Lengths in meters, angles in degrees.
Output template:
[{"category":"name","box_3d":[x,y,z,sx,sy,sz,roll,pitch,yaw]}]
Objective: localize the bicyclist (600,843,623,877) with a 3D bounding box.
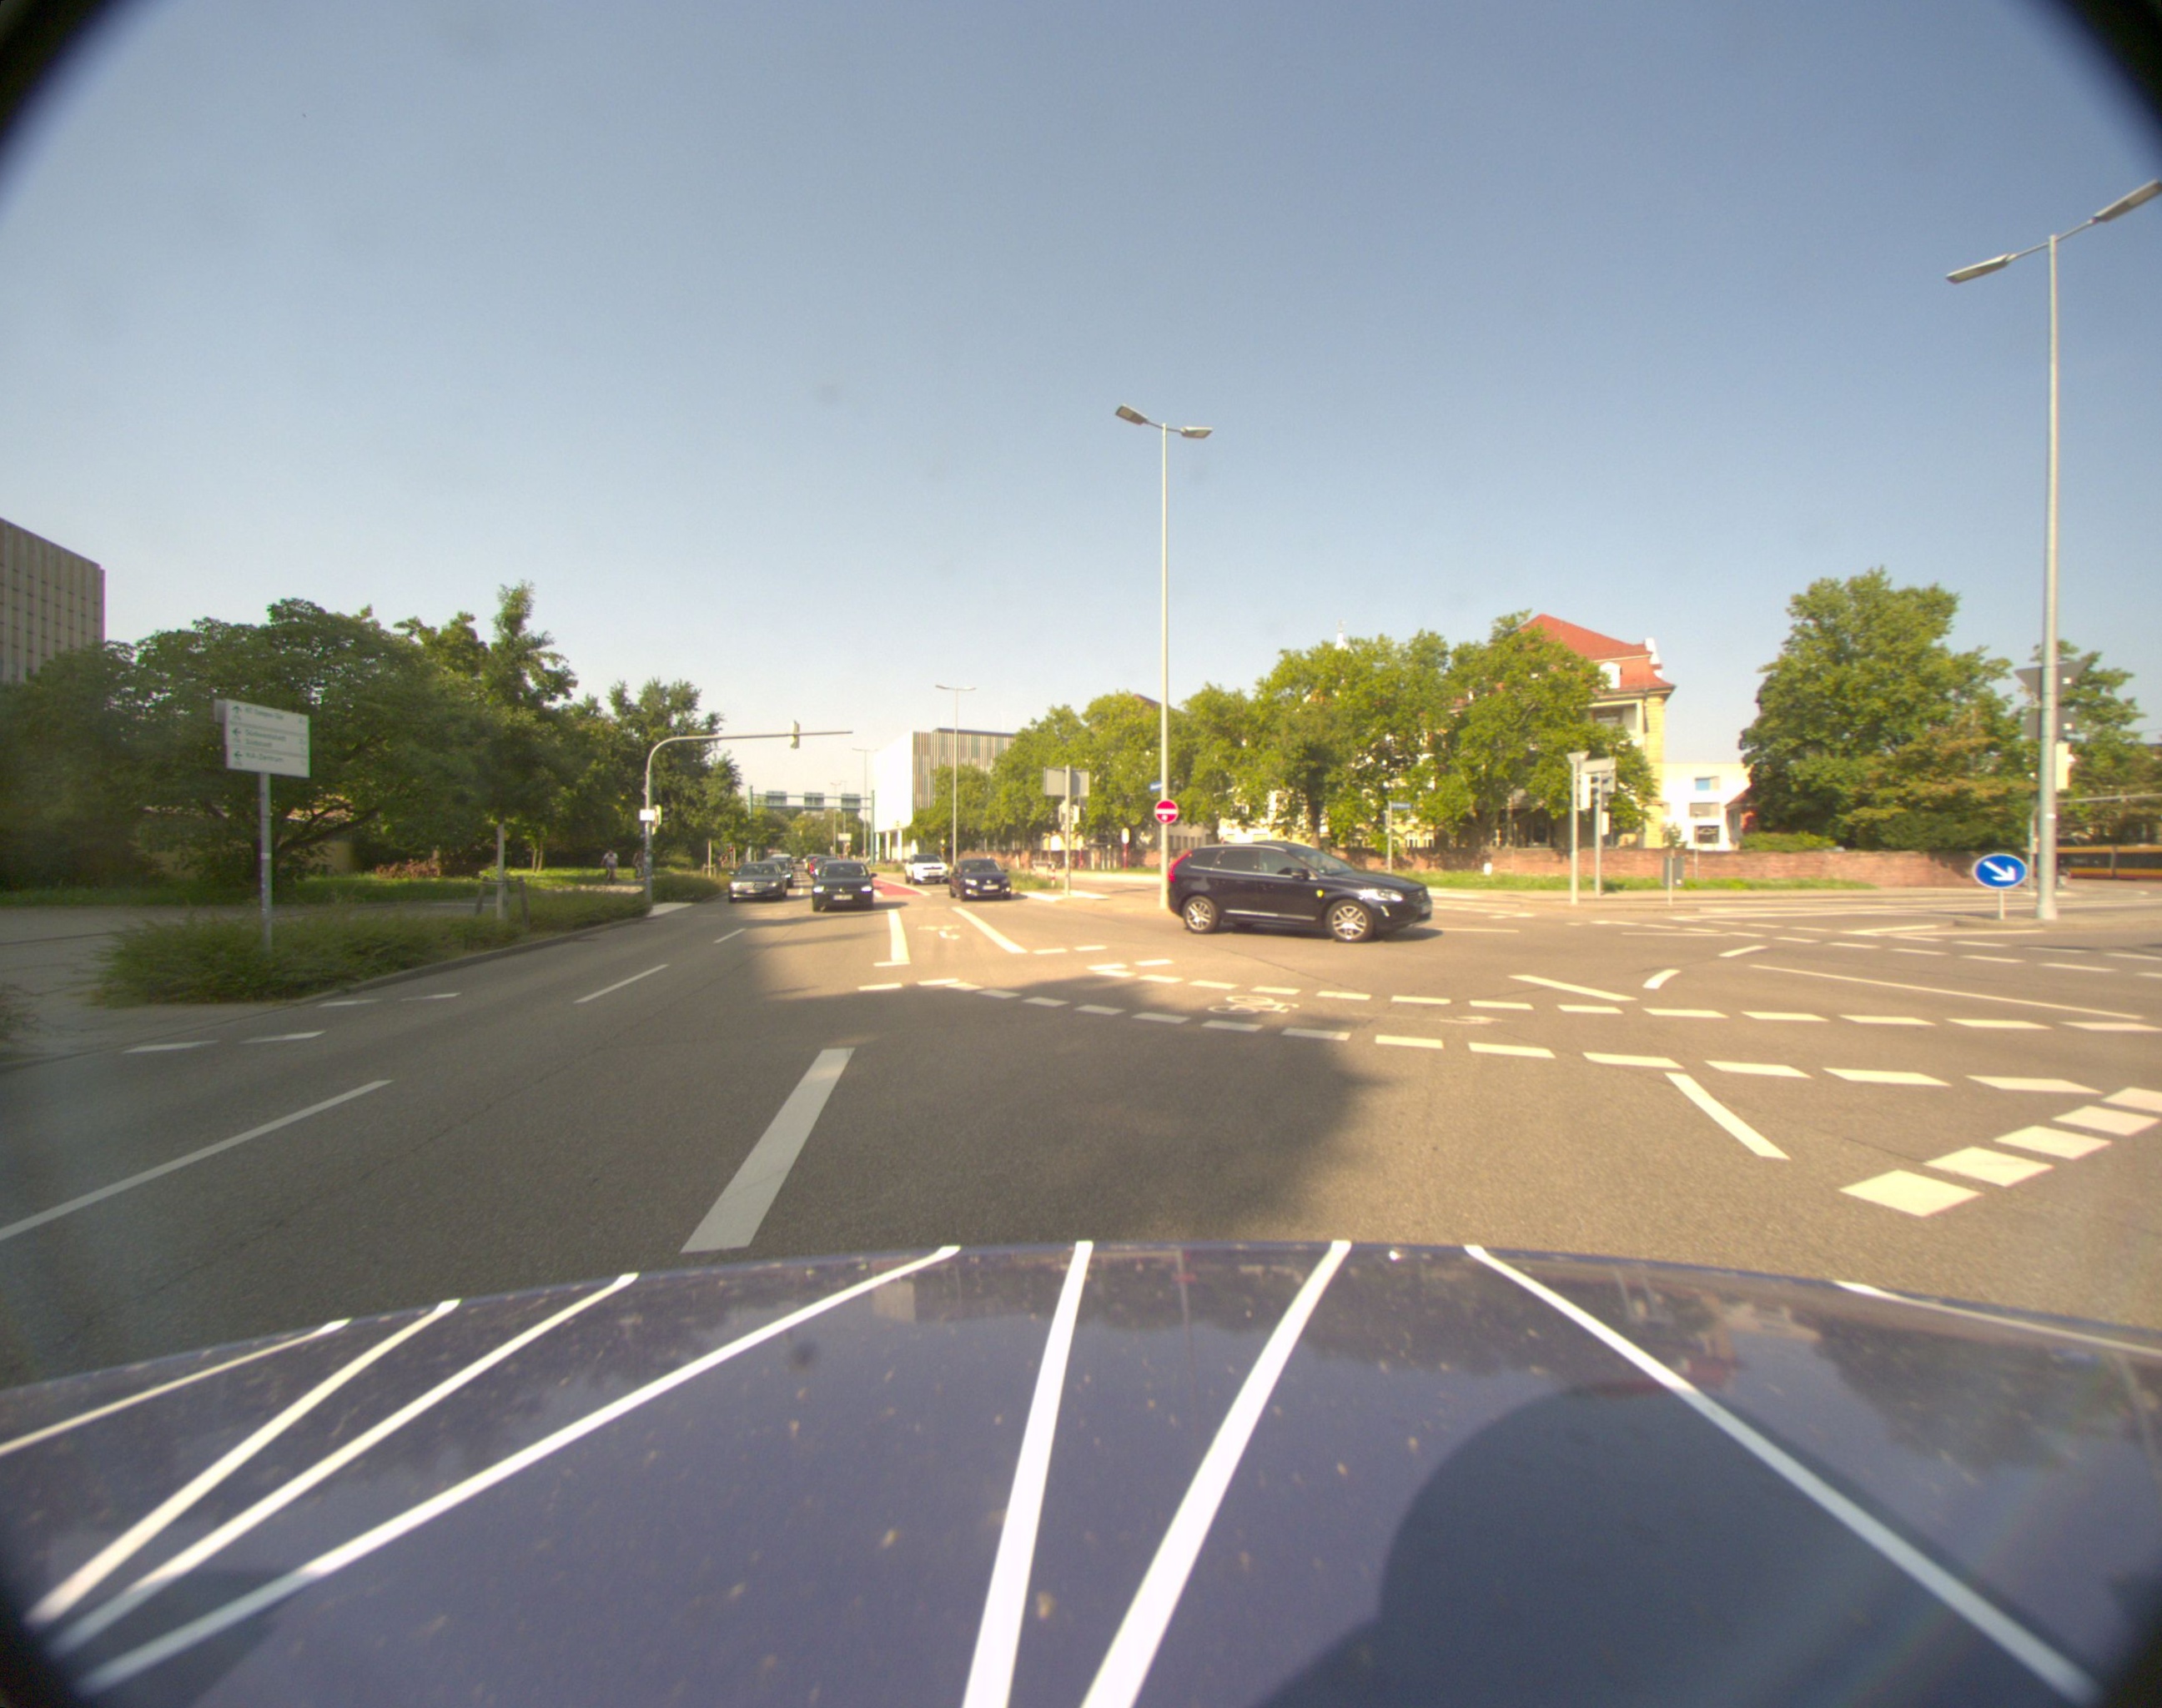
[{"category":"bicyclist","box_3d":[-22.438,0.298,36.290,0.774,1.583,0.922,0,0,-21]}]

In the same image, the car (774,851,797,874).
[{"category":"car","box_3d":[-25.403,0.675,65.270,1.690,1.930,4.363,0,0,-22]}]

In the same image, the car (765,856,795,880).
[{"category":"car","box_3d":[-19.434,0.879,49.132,1.690,1.483,4.364,0,0,-20]}]

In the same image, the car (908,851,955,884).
[{"category":"car","box_3d":[-8.103,0.696,40.869,2.001,1.624,4.366,-2,1,-17]}]

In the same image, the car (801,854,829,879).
[{"category":"car","box_3d":[-19.200,0.876,54.823,1.786,1.597,4.412,0,1,-21]}]

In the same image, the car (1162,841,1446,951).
[{"category":"car","box_3d":[3.795,0.688,13.468,4.360,1.623,2.004,-2,-2,45]}]

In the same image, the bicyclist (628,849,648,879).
[{"category":"bicyclist","box_3d":[-23.533,0.508,40.354,0.774,1.584,0.922,-1,1,-22]}]

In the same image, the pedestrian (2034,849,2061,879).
[{"category":"pedestrian","box_3d":[66.353,0.701,52.185,0.820,2.002,0.818,-2,1,18]}]

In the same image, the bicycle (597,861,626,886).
[{"category":"bicycle","box_3d":[-22.478,0.921,36.411,0.774,1.111,2.299,0,0,-21]}]

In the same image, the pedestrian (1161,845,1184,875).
[{"category":"pedestrian","box_3d":[6.110,0.376,50.732,1.080,2.002,1.316,-1,1,-17]}]

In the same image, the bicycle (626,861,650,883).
[{"category":"bicycle","box_3d":[-23.547,0.950,40.397,0.774,1.111,2.299,-1,0,-22]}]

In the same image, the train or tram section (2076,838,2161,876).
[{"category":"train or tram section","box_3d":[99.097,0.176,70.634,2.629,3.198,13.915,-2,1,29]}]

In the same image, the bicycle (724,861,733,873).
[{"category":"bicycle","box_3d":[-34.920,1.301,75.215,0.774,1.111,2.298,-1,0,-25]}]

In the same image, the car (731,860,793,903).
[{"category":"car","box_3d":[-11.845,0.968,28.436,1.689,1.434,4.365,0,0,-17]}]

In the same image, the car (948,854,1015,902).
[{"category":"car","box_3d":[-3.540,0.771,26.499,1.627,1.489,3.844,-2,1,-17]}]

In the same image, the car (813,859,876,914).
[{"category":"car","box_3d":[-7.233,0.914,23.317,1.689,1.483,4.365,0,0,-17]}]

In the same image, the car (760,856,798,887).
[{"category":"car","box_3d":[-15.736,0.882,39.749,1.690,1.483,4.664,0,0,-20]}]

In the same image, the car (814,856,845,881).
[{"category":"car","box_3d":[-15.777,0.894,47.507,1.690,1.483,4.364,0,0,-20]}]

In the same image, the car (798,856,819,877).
[{"category":"car","box_3d":[-26.725,1.210,74.522,1.690,1.930,4.065,0,0,-23]}]

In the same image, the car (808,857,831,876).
[{"category":"car","box_3d":[-21.215,0.979,61.635,1.690,1.483,4.364,0,0,-20]}]

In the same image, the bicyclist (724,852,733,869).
[{"category":"bicyclist","box_3d":[-34.962,0.652,75.299,0.774,1.666,0.922,-1,1,-25]}]
